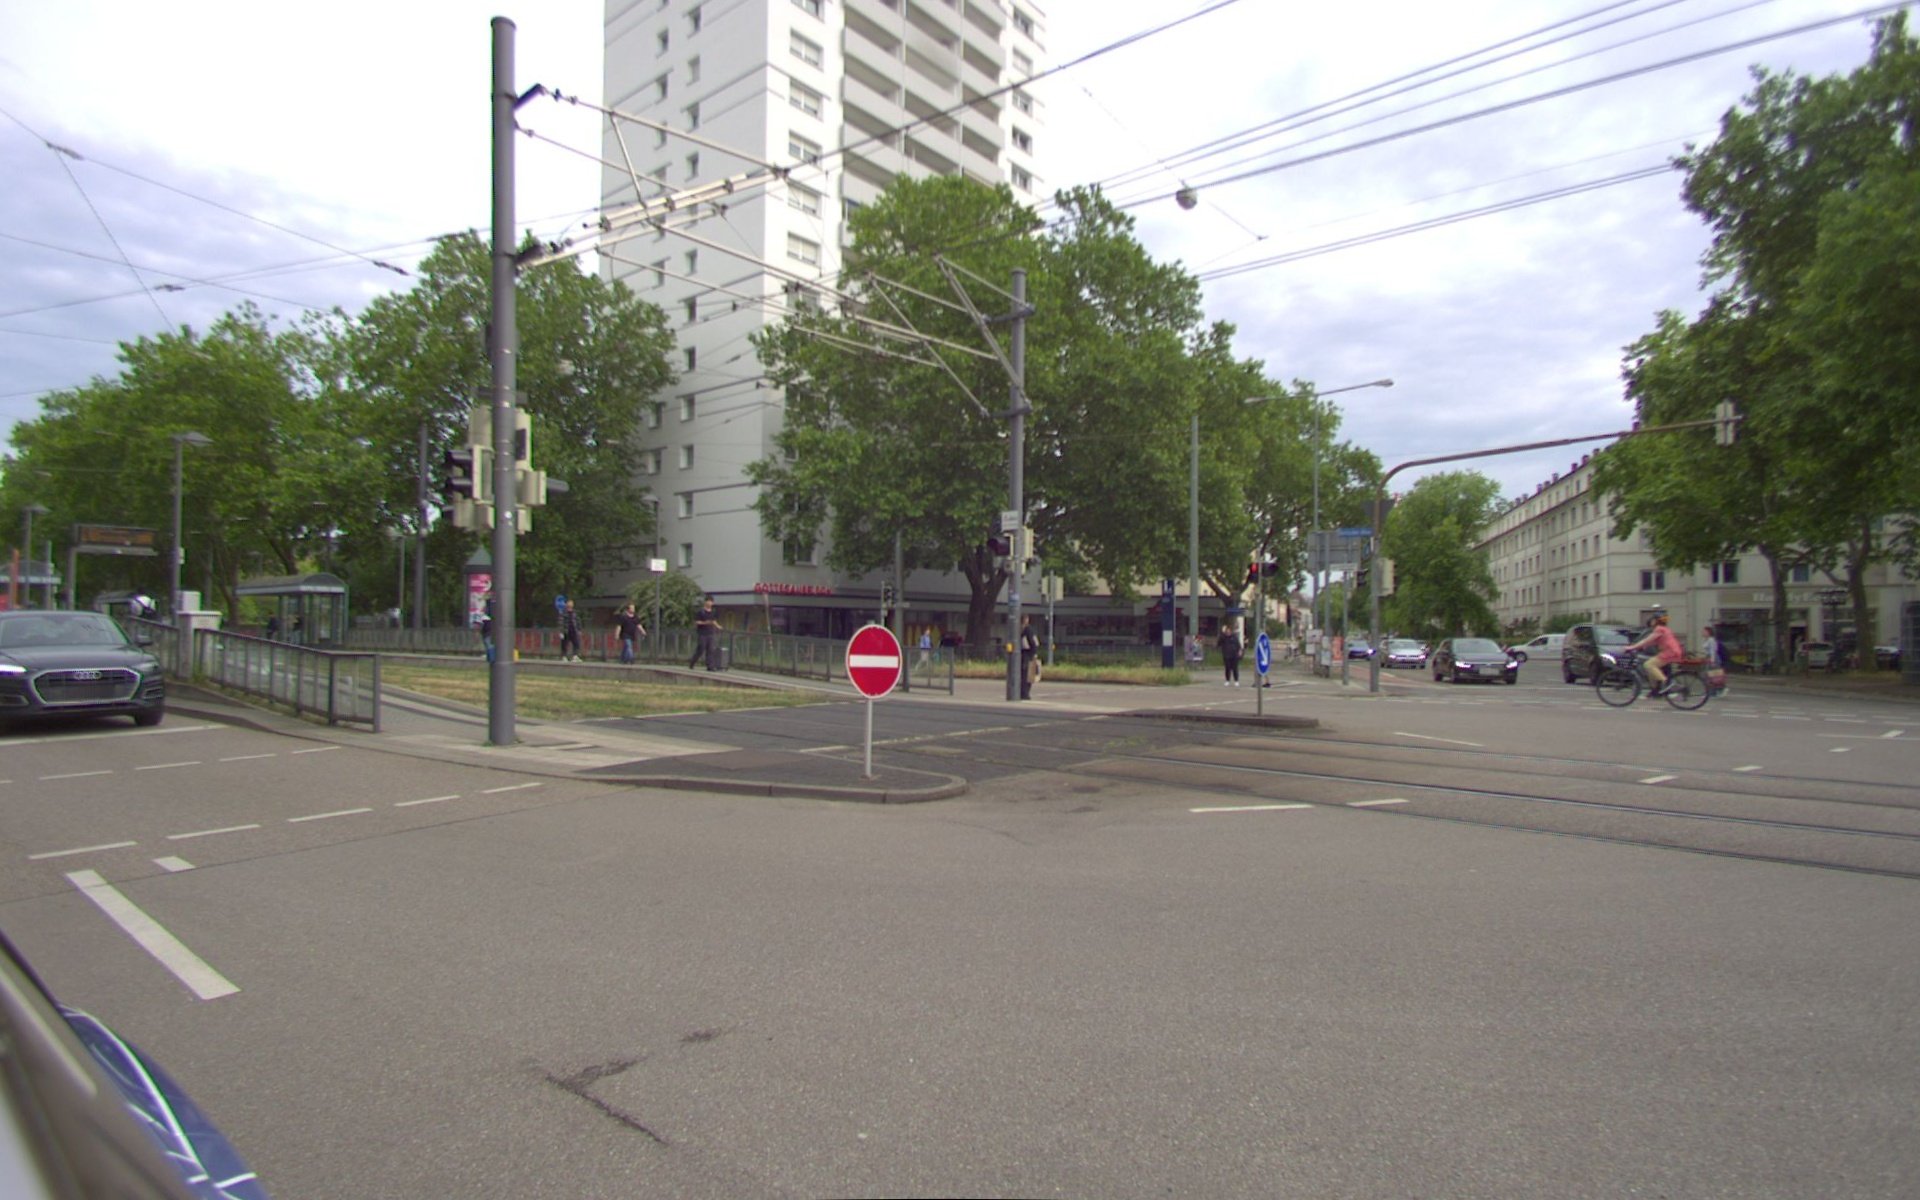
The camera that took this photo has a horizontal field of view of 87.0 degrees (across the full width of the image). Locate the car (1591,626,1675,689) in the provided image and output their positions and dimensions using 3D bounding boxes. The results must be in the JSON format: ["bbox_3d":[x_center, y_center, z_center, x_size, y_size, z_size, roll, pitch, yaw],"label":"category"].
[{"bbox_3d":[19.873,1.738,29.947,1.907,1.732,3.696,-1,-5,33],"label":"car"}]

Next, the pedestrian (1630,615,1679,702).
[{"bbox_3d":[15.504,1.285,22.605,0.683,1.901,0.685,-1,-1,17],"label":"pedestrian"}]

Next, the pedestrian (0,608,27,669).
[{"bbox_3d":[-28.694,1.162,30.568,0.821,1.805,0.674,-2,-1,43],"label":"pedestrian"}]

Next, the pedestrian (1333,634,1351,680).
[{"bbox_3d":[11.381,1.697,30.168,0.413,1.375,0.390,-1,-1,13],"label":"pedestrian"}]

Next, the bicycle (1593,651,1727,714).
[{"bbox_3d":[13.002,1.517,18.828,1.991,1.072,0.720,-1,-4,40],"label":"bicycle"}]

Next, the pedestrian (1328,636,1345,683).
[{"bbox_3d":[11.086,1.747,29.806,0.413,1.375,0.390,-1,-1,13],"label":"pedestrian"}]

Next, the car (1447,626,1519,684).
[{"bbox_3d":[16.781,1.785,32.379,1.659,1.732,3.696,-1,-5,33],"label":"car"}]

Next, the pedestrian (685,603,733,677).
[{"bbox_3d":[-5.932,0.938,23.900,0.878,1.708,0.733,-2,-1,41],"label":"pedestrian"}]

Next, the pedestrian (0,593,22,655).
[{"bbox_3d":[-32.160,0.824,34.240,0.821,2.066,0.578,-2,-1,43],"label":"pedestrian"}]

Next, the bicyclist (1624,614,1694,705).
[{"bbox_3d":[13.015,1.098,18.839,0.993,1.650,0.698,-2,-4,40],"label":"bicyclist"}]

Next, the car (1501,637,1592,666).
[{"bbox_3d":[36.739,3.199,63.428,4.818,1.676,1.978,-1,-2,33],"label":"car"}]

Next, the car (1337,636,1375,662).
[{"bbox_3d":[26.932,3.341,68.942,1.917,1.697,3.982,0,-2,14],"label":"car"}]

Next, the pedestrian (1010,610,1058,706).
[{"bbox_3d":[1.393,1.074,19.004,0.627,1.763,0.647,-2,-1,42],"label":"pedestrian"}]

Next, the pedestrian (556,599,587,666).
[{"bbox_3d":[-10.606,0.890,27.618,0.534,1.803,0.614,-2,-1,40],"label":"pedestrian"}]

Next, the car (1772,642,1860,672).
[{"bbox_3d":[42.810,2.811,50.758,1.987,1.400,4.794,-1,-2,23],"label":"car"}]

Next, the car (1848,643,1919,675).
[{"bbox_3d":[44.872,2.804,48.512,1.987,1.400,4.794,-1,-2,23],"label":"car"}]

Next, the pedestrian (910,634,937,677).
[{"bbox_3d":[-1.325,2.018,36.830,0.854,1.520,0.546,-2,-1,44],"label":"pedestrian"}]

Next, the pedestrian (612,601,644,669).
[{"bbox_3d":[-8.769,0.904,26.714,0.548,1.764,0.614,-2,-1,41],"label":"pedestrian"}]

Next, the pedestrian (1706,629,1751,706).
[{"bbox_3d":[17.567,1.525,23.146,0.754,1.703,0.797,-1,-3,36],"label":"pedestrian"}]

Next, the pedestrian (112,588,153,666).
[{"bbox_3d":[-19.230,0.625,23.527,0.534,1.764,0.654,-2,-1,40],"label":"pedestrian"}]

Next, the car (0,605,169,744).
[{"bbox_3d":[-12.741,0.938,14.082,4.364,1.660,1.892,-1,-1,40],"label":"car"}]

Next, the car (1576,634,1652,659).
[{"bbox_3d":[41.673,2.955,64.566,1.773,1.497,4.008,0,-2,-10],"label":"car"}]

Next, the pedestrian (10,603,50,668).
[{"bbox_3d":[-26.553,1.004,28.887,0.652,1.805,0.536,0,-1,-10],"label":"pedestrian"}]

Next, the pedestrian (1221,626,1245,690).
[{"bbox_3d":[7.038,1.497,26.126,0.518,1.624,0.526,-1,-1,8],"label":"pedestrian"}]

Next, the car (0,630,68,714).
[{"bbox_3d":[-17.653,1.260,18.378,4.010,1.385,1.616,-1,-1,40],"label":"car"}]

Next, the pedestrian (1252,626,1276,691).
[{"bbox_3d":[7.681,1.466,25.616,0.499,1.624,0.366,-1,-1,8],"label":"pedestrian"}]

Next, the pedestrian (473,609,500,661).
[{"bbox_3d":[-15.344,1.126,32.809,0.564,1.681,0.614,-2,-1,41],"label":"pedestrian"}]

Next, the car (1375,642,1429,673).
[{"bbox_3d":[21.857,2.803,50.181,1.744,1.431,3.983,0,-2,13],"label":"car"}]
